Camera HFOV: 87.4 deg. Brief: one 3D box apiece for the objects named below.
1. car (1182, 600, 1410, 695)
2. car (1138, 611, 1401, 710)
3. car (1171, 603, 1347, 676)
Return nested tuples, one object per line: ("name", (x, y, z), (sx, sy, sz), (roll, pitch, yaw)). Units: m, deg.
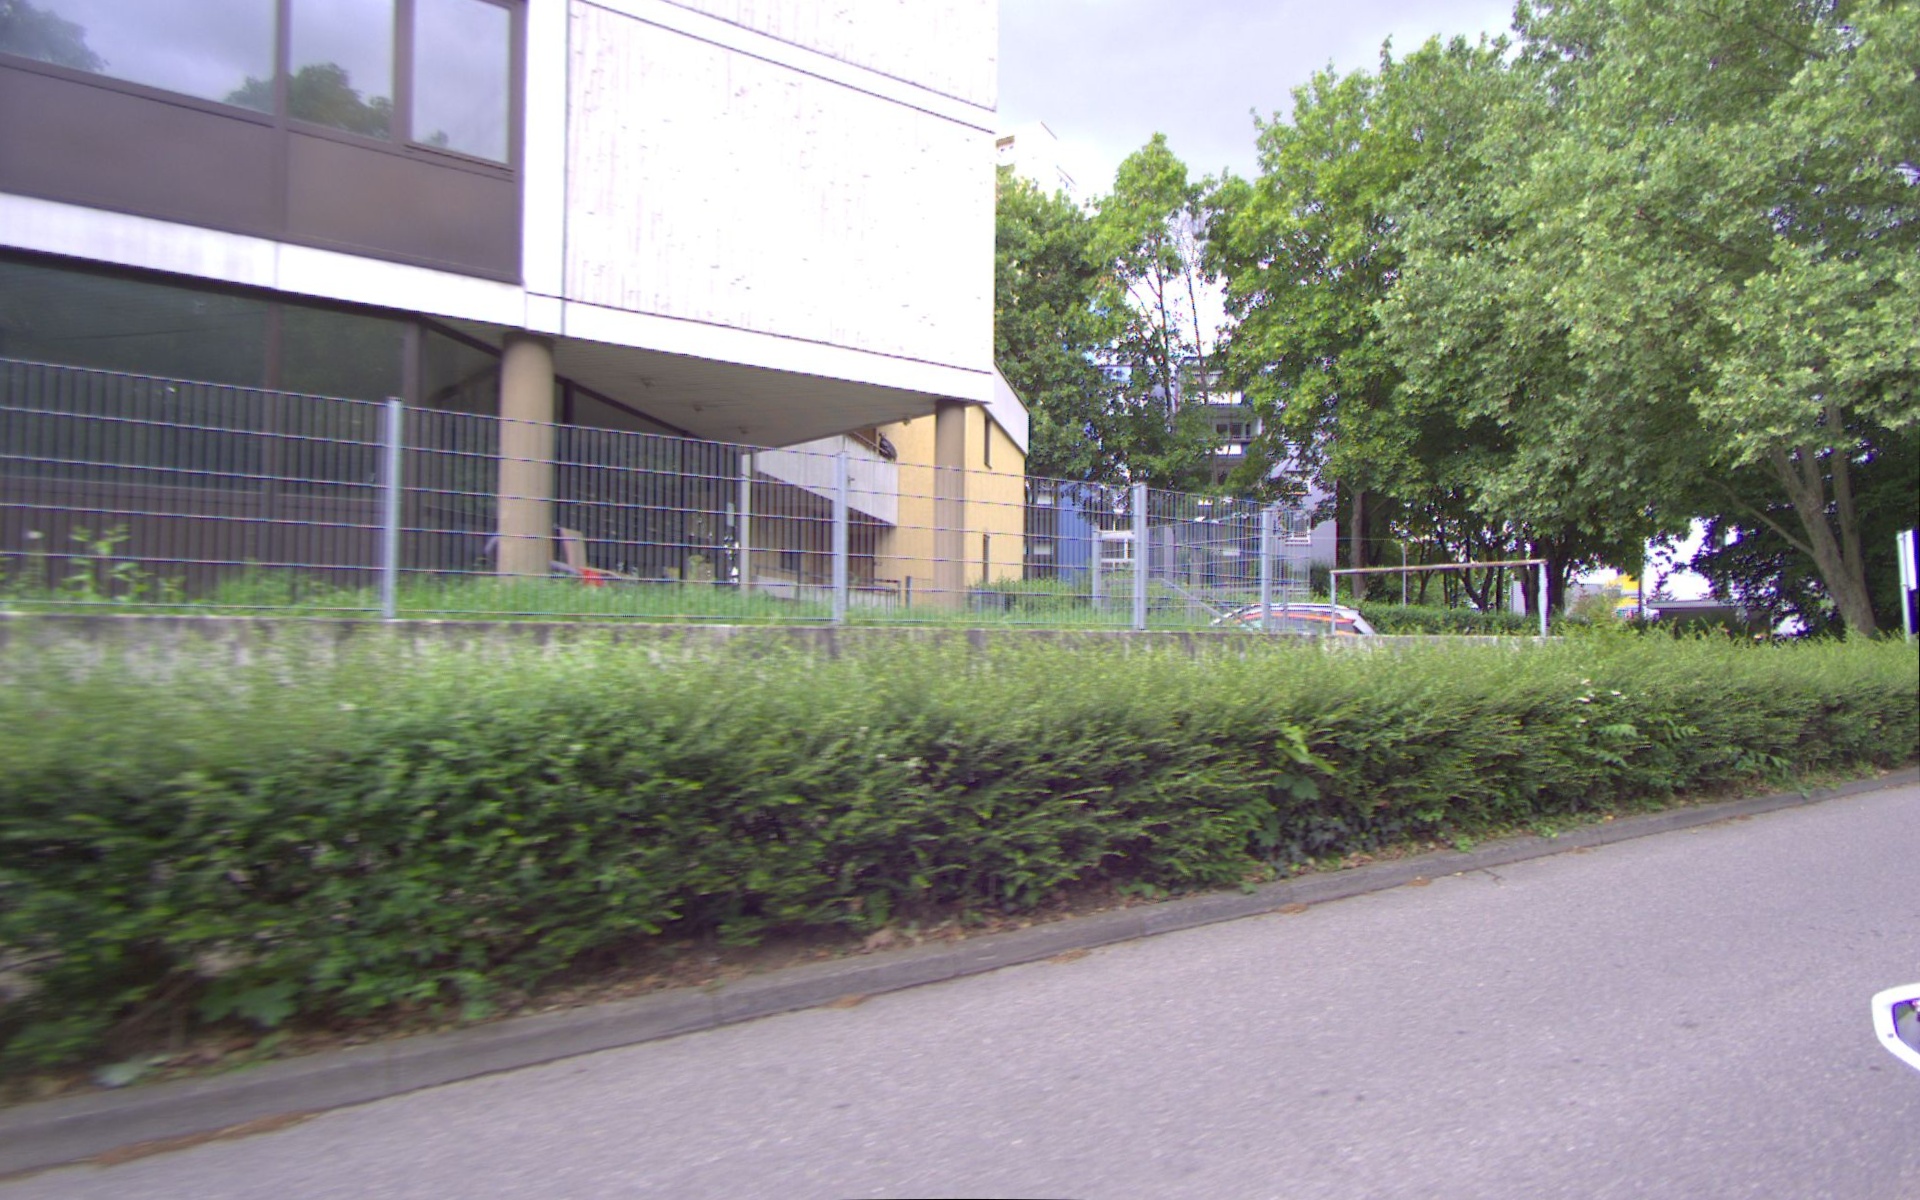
("car", (6.237, 0.869, 19.111), (3.919, 1.632, 1.826), (1, -1, 12))
("car", (4.966, 0.949, 16.552), (3.919, 1.449, 1.751), (1, -1, 12))
("car", (7.341, 0.950, 24.941), (4.032, 1.670, 1.808), (1, -1, 14))
